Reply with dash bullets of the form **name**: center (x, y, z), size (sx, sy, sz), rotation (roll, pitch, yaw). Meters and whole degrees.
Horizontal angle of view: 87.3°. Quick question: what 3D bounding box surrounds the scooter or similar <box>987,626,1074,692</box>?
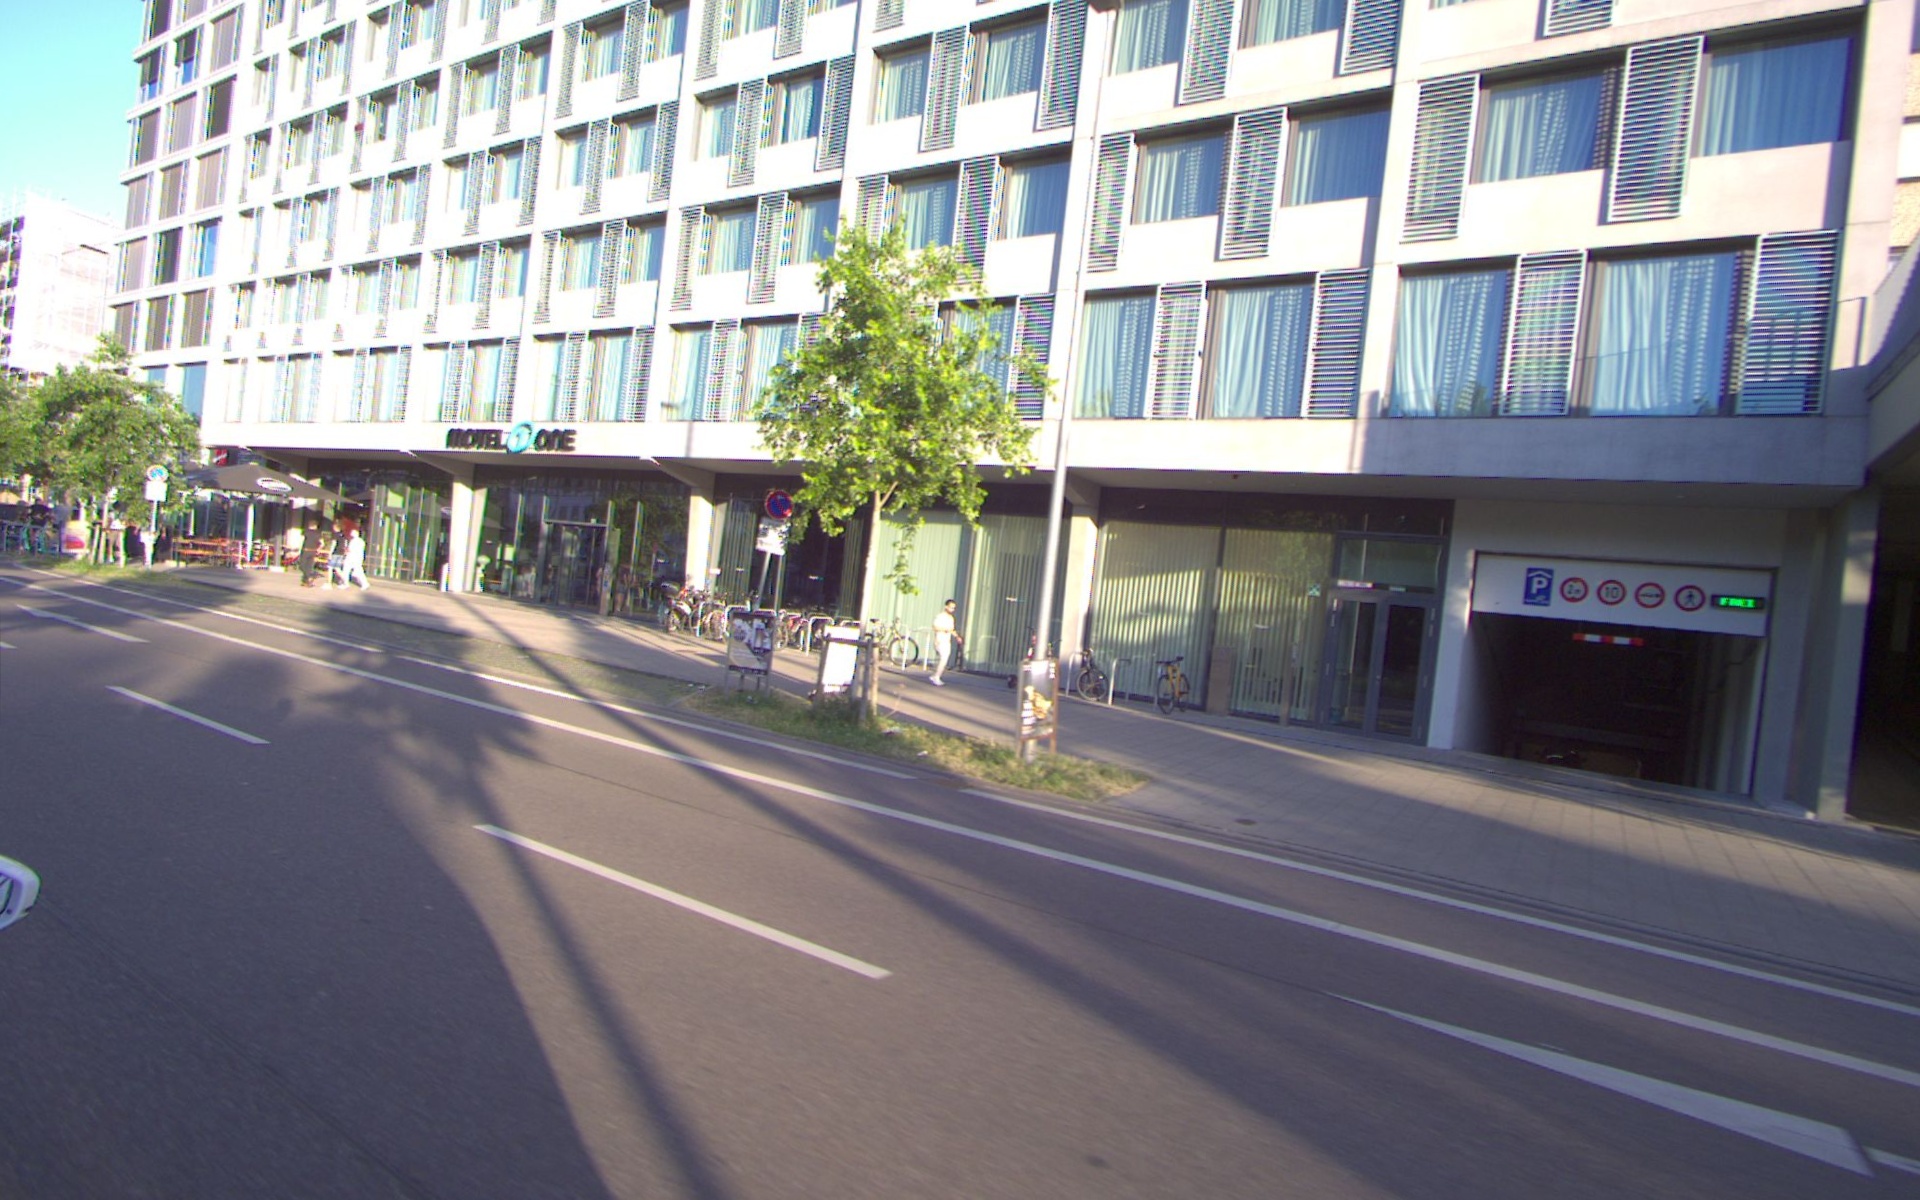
- **scooter or similar**: center (1.447, 1.186, 20.247), size (0.610, 1.198, 2.374), rotation (7, 1, 31)

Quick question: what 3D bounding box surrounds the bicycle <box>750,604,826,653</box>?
- **bicycle**: center (-3.887, 0.650, 22.925), size (0.556, 1.023, 1.886), rotation (7, 2, 30)

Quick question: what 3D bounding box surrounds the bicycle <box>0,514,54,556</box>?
- **bicycle**: center (-29.808, -2.065, 31.621), size (0.598, 1.197, 1.847), rotation (7, 2, 32)

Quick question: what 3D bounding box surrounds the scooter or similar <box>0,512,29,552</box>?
- **scooter or similar**: center (-30.841, -2.217, 32.337), size (0.472, 1.217, 1.210), rotation (7, 2, 28)

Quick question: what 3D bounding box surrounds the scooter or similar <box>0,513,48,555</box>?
- **scooter or similar**: center (-28.896, -2.027, 30.916), size (0.502, 1.207, 1.155), rotation (5, 1, 34)

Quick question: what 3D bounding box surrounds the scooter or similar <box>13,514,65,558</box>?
- **scooter or similar**: center (-28.107, -1.957, 30.714), size (1.123, 1.229, 0.525), rotation (4, 1, -43)

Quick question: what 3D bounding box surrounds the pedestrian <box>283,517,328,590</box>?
- **pedestrian**: center (-17.876, -1.268, 27.463), size (0.927, 1.874, 0.741), rotation (7, 3, 42)

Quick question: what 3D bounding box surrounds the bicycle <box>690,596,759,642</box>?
- **bicycle**: center (-5.610, 0.470, 24.048), size (0.541, 0.999, 1.701), rotation (7, 1, 29)

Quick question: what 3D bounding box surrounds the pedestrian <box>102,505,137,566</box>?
- **pedestrian**: center (-25.661, -1.967, 30.708), size (0.816, 1.809, 0.575), rotation (5, 2, 38)

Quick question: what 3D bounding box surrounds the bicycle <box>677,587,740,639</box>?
- **bicycle**: center (-6.172, 0.319, 24.749), size (0.601, 1.170, 1.610), rotation (7, 2, 20)

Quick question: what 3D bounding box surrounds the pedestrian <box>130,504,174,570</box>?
- **pedestrian**: center (-24.806, -1.938, 30.894), size (0.854, 1.913, 0.822), rotation (6, 1, 41)

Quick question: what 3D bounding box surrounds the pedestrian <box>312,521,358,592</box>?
- **pedestrian**: center (-17.366, -1.208, 27.950), size (0.927, 1.848, 0.754), rotation (7, 2, 42)

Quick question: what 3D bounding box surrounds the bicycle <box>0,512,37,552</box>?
- **bicycle**: center (-31.265, -2.256, 32.650), size (0.558, 1.209, 1.795), rotation (7, 2, 28)

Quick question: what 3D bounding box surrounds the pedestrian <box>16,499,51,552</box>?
- **pedestrian**: center (-31.756, -2.562, 34.488), size (0.678, 1.725, 0.653), rotation (7, 3, 32)

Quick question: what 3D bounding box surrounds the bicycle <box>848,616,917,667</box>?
- **bicycle**: center (-1.639, 0.892, 21.547), size (0.541, 0.999, 1.701), rotation (7, 2, 29)

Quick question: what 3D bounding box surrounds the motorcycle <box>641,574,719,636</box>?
- **motorcycle**: center (-6.922, 0.143, 24.996), size (0.659, 1.404, 2.117), rotation (7, 1, 18)

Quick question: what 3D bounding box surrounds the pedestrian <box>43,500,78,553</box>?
- **pedestrian**: center (-31.373, -2.558, 35.089), size (0.748, 1.758, 0.685), rotation (7, 3, 32)

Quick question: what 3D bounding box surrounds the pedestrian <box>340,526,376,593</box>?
- **pedestrian**: center (-17.209, -1.167, 28.769), size (0.766, 1.836, 0.617), rotation (7, 3, 42)

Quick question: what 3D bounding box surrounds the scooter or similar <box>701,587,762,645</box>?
- **scooter or similar**: center (-5.289, 0.385, 23.358), size (0.598, 1.249, 1.269), rotation (7, 2, 28)

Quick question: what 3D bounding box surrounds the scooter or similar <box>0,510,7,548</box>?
- **scooter or similar**: center (-32.222, -2.384, 33.191), size (0.542, 1.239, 1.058), rotation (7, 2, 42)

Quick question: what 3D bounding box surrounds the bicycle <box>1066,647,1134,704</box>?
- **bicycle**: center (2.724, 1.435, 19.368), size (0.610, 0.970, 2.019), rotation (7, 1, 26)

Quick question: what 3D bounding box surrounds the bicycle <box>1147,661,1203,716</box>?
- **bicycle**: center (3.901, 1.594, 18.193), size (0.449, 0.902, 1.423), rotation (7, 0, 31)

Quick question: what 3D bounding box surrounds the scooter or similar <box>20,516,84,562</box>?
- **scooter or similar**: center (-26.755, -1.794, 29.665), size (1.283, 1.234, 0.531), rotation (4, 2, -34)

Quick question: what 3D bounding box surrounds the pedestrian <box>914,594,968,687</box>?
- **pedestrian**: center (-0.357, 0.753, 18.738), size (0.633, 1.640, 0.575), rotation (8, 3, 37)
